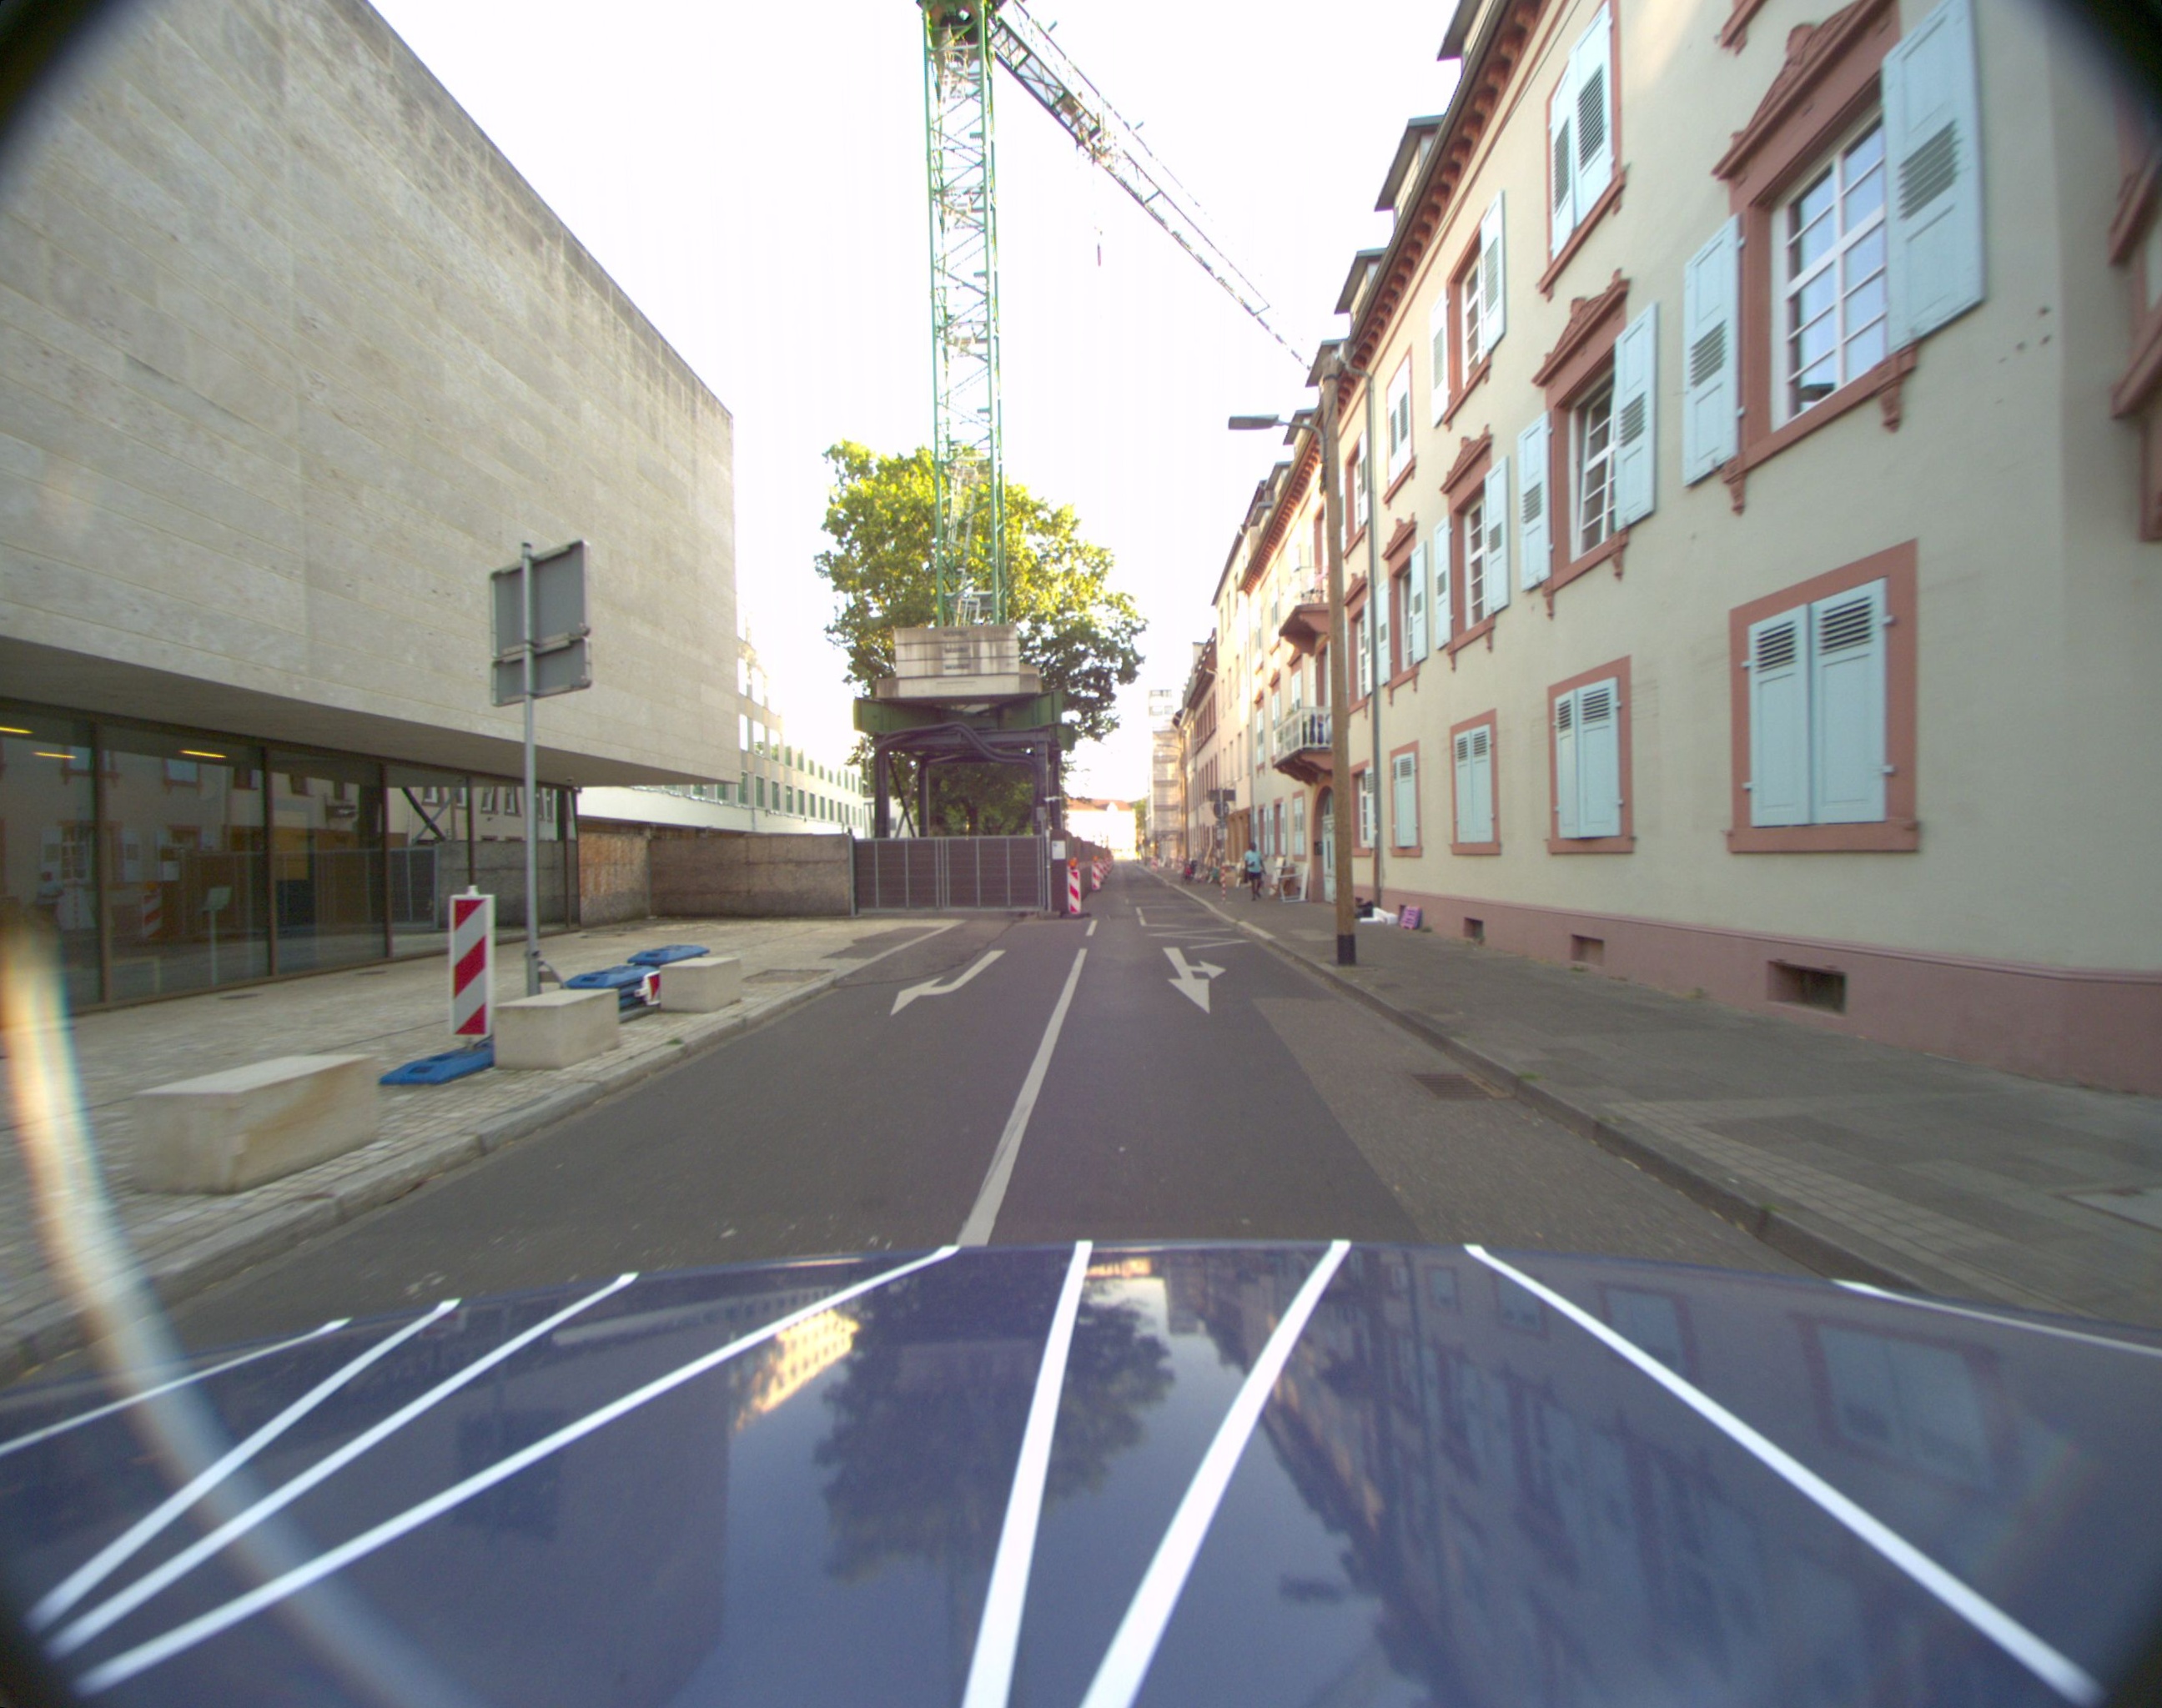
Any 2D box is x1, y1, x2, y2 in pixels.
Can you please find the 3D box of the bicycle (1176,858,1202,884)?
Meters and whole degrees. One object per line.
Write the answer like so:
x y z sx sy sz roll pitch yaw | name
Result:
5.054 0.796 35.598 0.659 1.163 1.611 -2 0 28 | bicycle

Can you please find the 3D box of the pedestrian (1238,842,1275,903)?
5.105 0.533 22.153 0.826 1.687 0.649 -4 0 1 | pedestrian

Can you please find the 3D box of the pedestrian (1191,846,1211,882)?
5.797 0.465 36.823 0.826 1.687 0.649 -2 0 1 | pedestrian
